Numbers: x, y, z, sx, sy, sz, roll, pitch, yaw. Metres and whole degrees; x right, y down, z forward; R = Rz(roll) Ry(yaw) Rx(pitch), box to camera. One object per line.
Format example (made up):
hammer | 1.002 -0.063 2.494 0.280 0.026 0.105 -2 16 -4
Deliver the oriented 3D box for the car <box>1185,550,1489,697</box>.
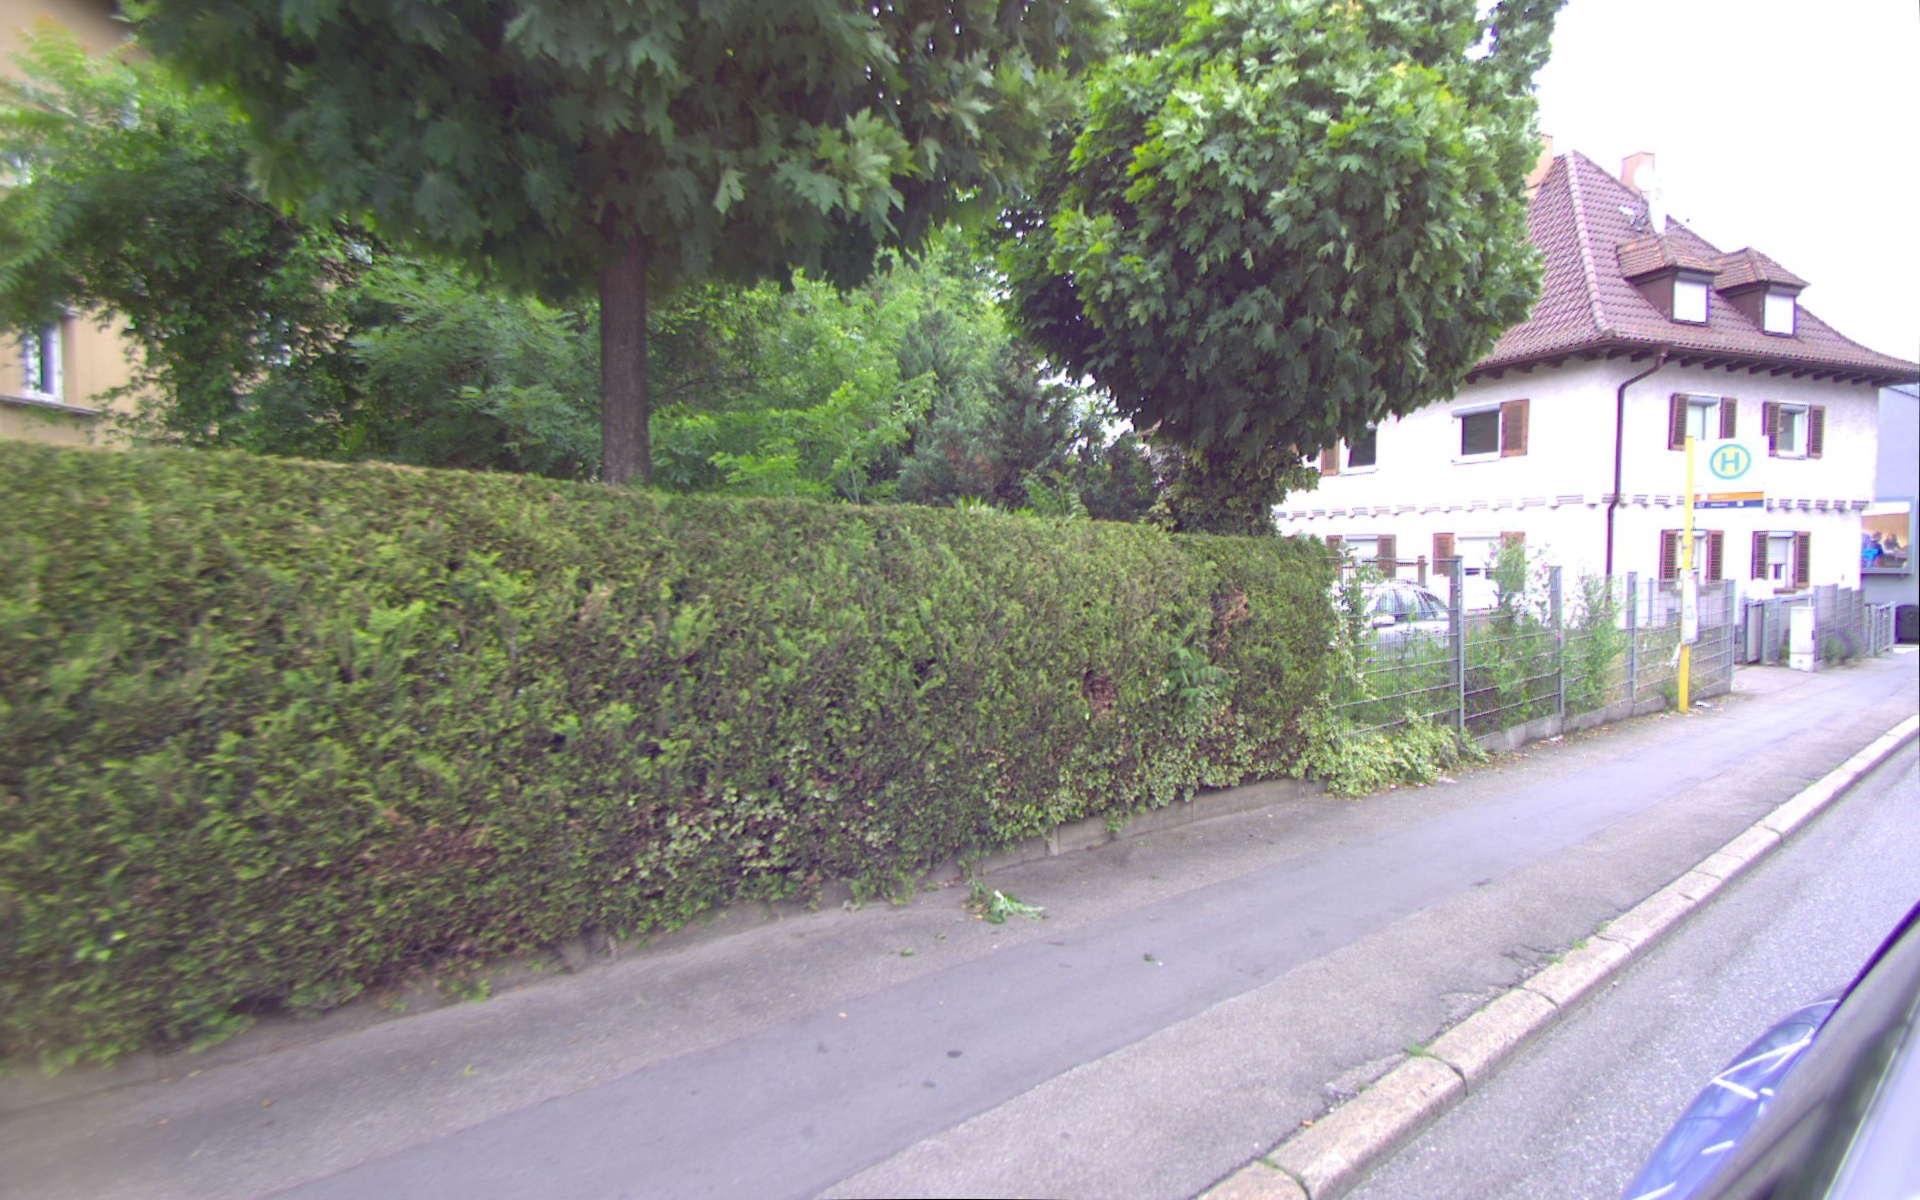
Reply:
car | 4.673 0.208 12.208 4.194 1.439 1.800 0 2 -45
